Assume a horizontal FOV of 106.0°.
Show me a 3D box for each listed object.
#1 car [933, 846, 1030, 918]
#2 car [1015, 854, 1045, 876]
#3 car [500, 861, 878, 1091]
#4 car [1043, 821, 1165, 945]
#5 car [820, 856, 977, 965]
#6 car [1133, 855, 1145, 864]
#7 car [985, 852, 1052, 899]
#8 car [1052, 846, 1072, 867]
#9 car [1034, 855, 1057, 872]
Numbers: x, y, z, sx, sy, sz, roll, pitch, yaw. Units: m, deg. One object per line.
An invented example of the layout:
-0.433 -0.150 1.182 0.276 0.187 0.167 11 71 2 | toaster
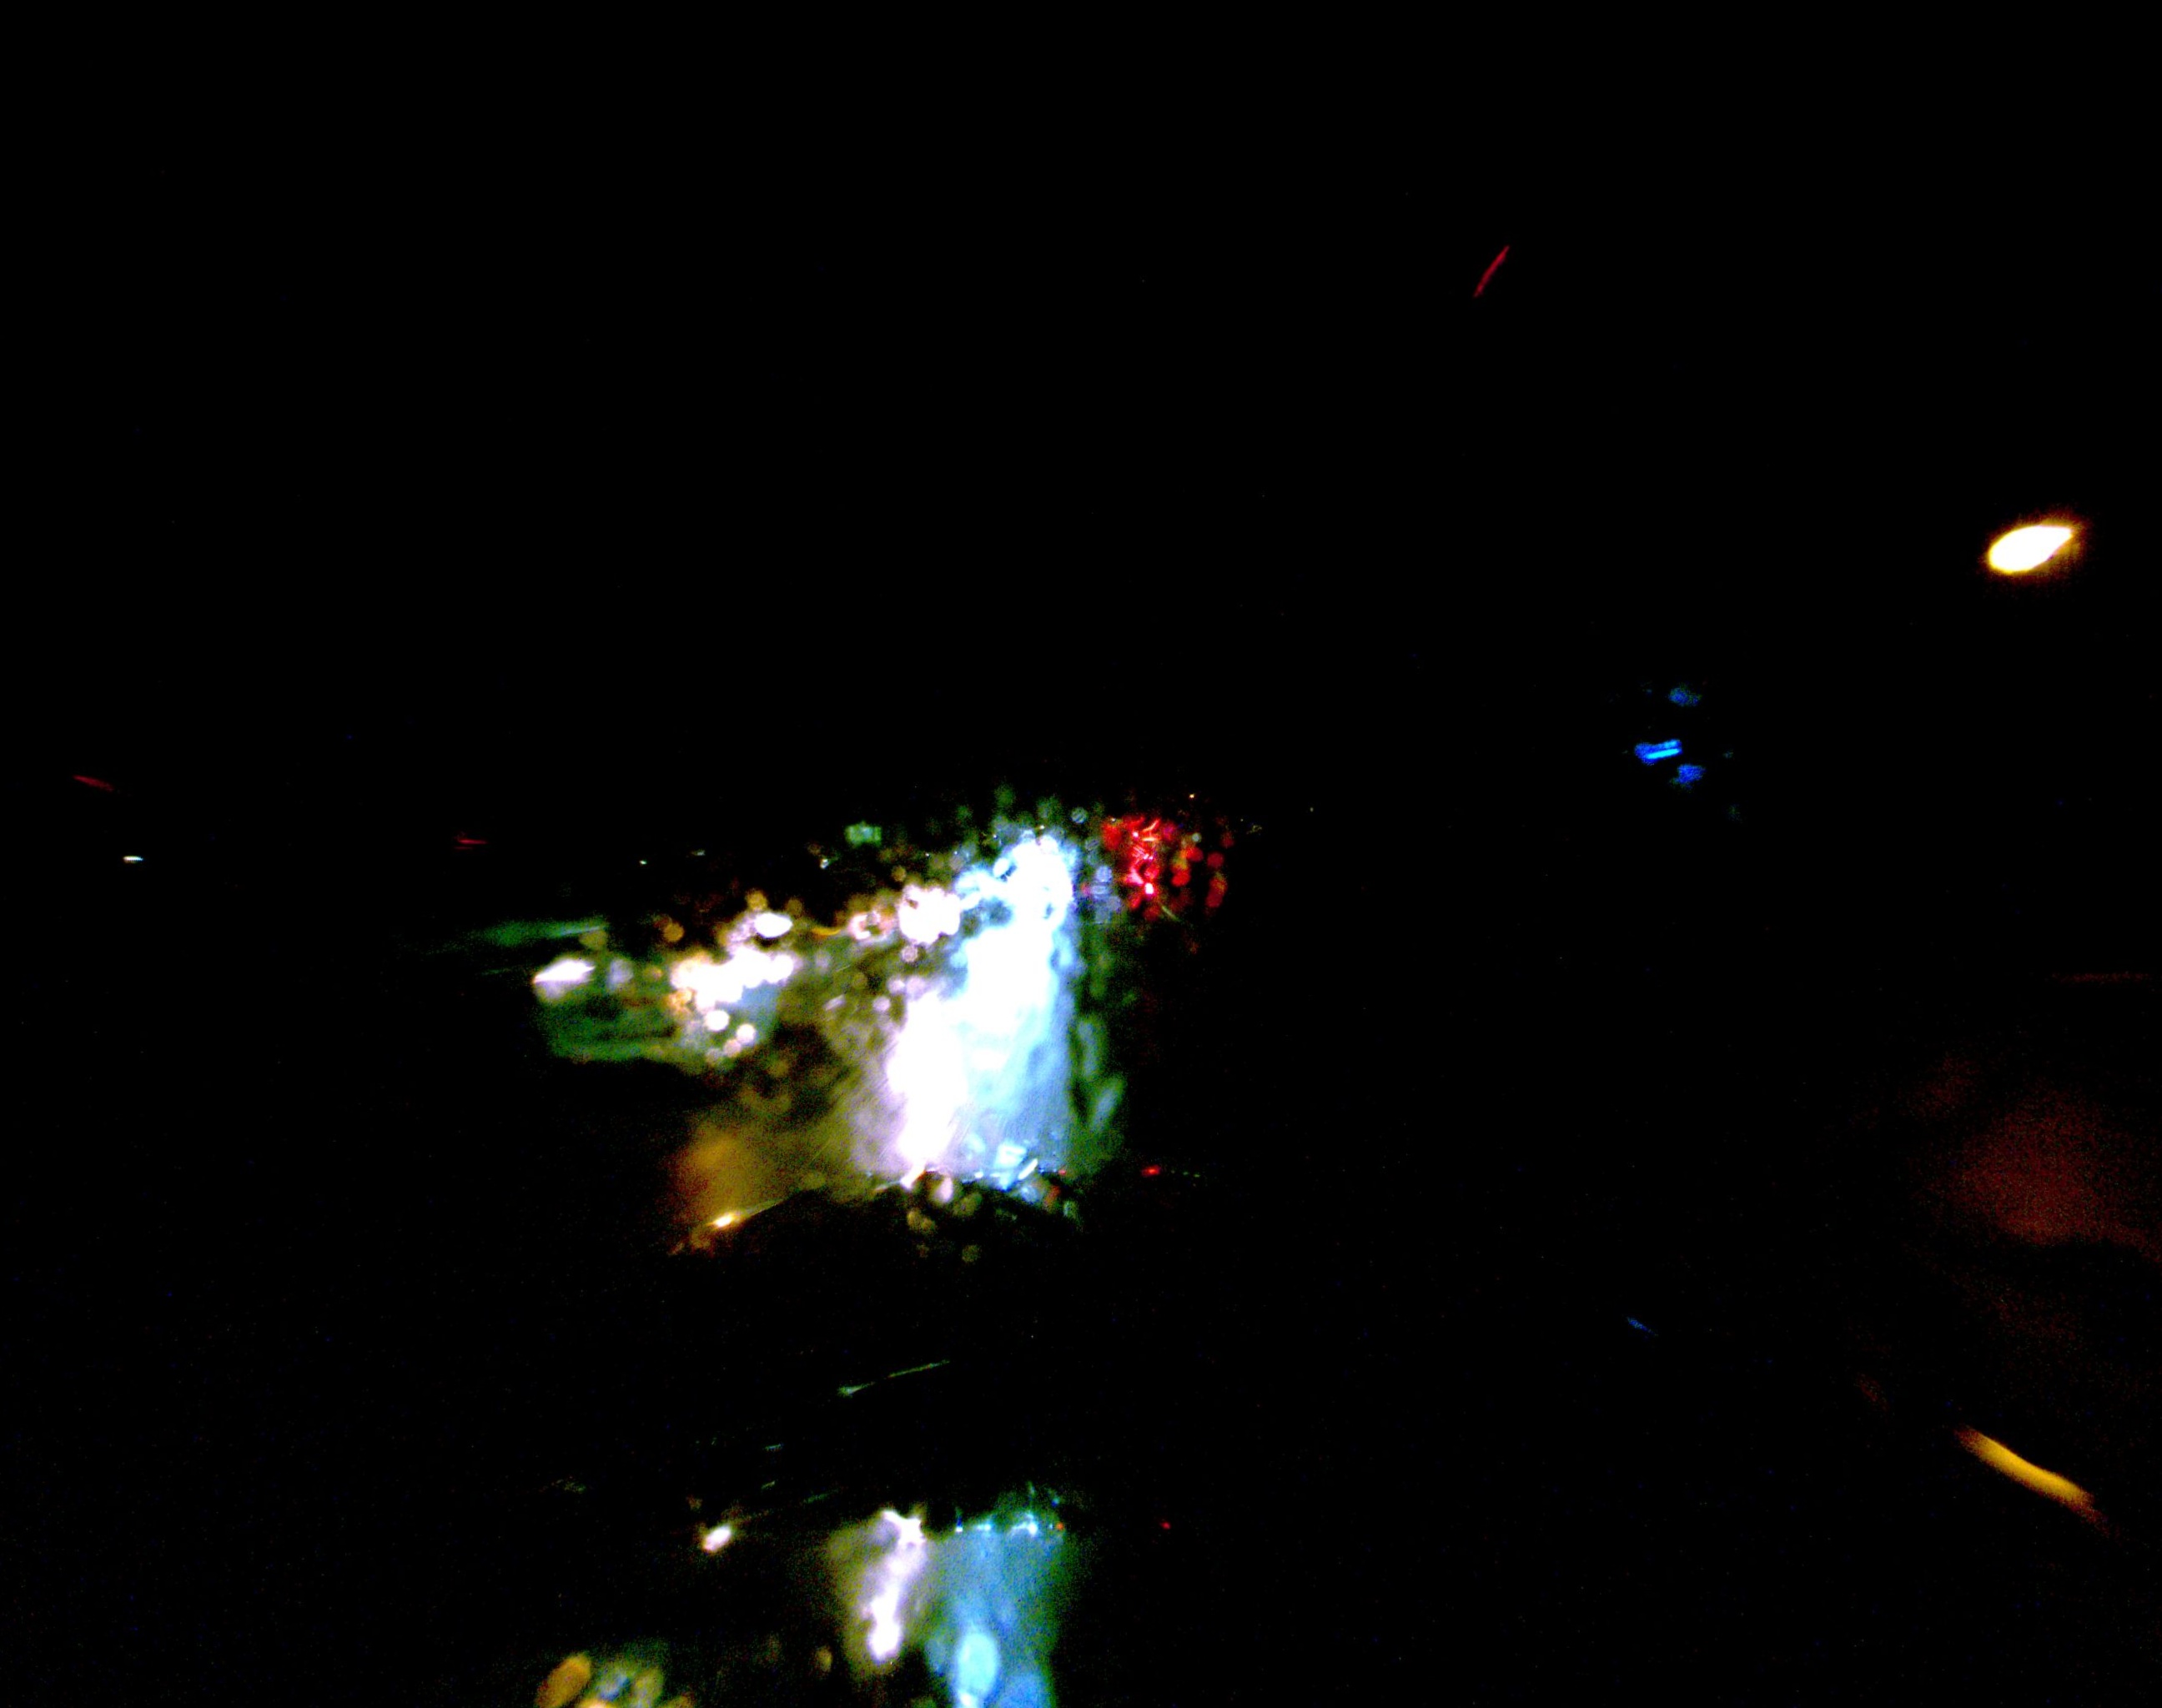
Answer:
-2.501 0.660 21.568 1.837 1.668 4.447 -1 0 2 | car
-3.852 0.819 61.849 1.798 1.629 4.418 -1 0 2 | car
-3.079 0.830 7.284 1.664 1.473 3.631 -1 0 -2 | car
0.412 0.461 15.139 1.935 1.972 4.219 -1 0 1 | car
-2.786 0.794 13.271 1.616 1.473 3.885 -1 0 1 | car
9.833 0.955 138.218 1.654 1.450 4.059 -1 -1 8 | car
-2.224 0.721 30.233 1.836 1.575 4.601 -1 0 3 | car
-2.391 0.304 105.330 2.114 2.707 6.245 -1 0 3 | car
-3.292 0.874 75.680 1.713 1.508 3.830 -1 0 3 | car
